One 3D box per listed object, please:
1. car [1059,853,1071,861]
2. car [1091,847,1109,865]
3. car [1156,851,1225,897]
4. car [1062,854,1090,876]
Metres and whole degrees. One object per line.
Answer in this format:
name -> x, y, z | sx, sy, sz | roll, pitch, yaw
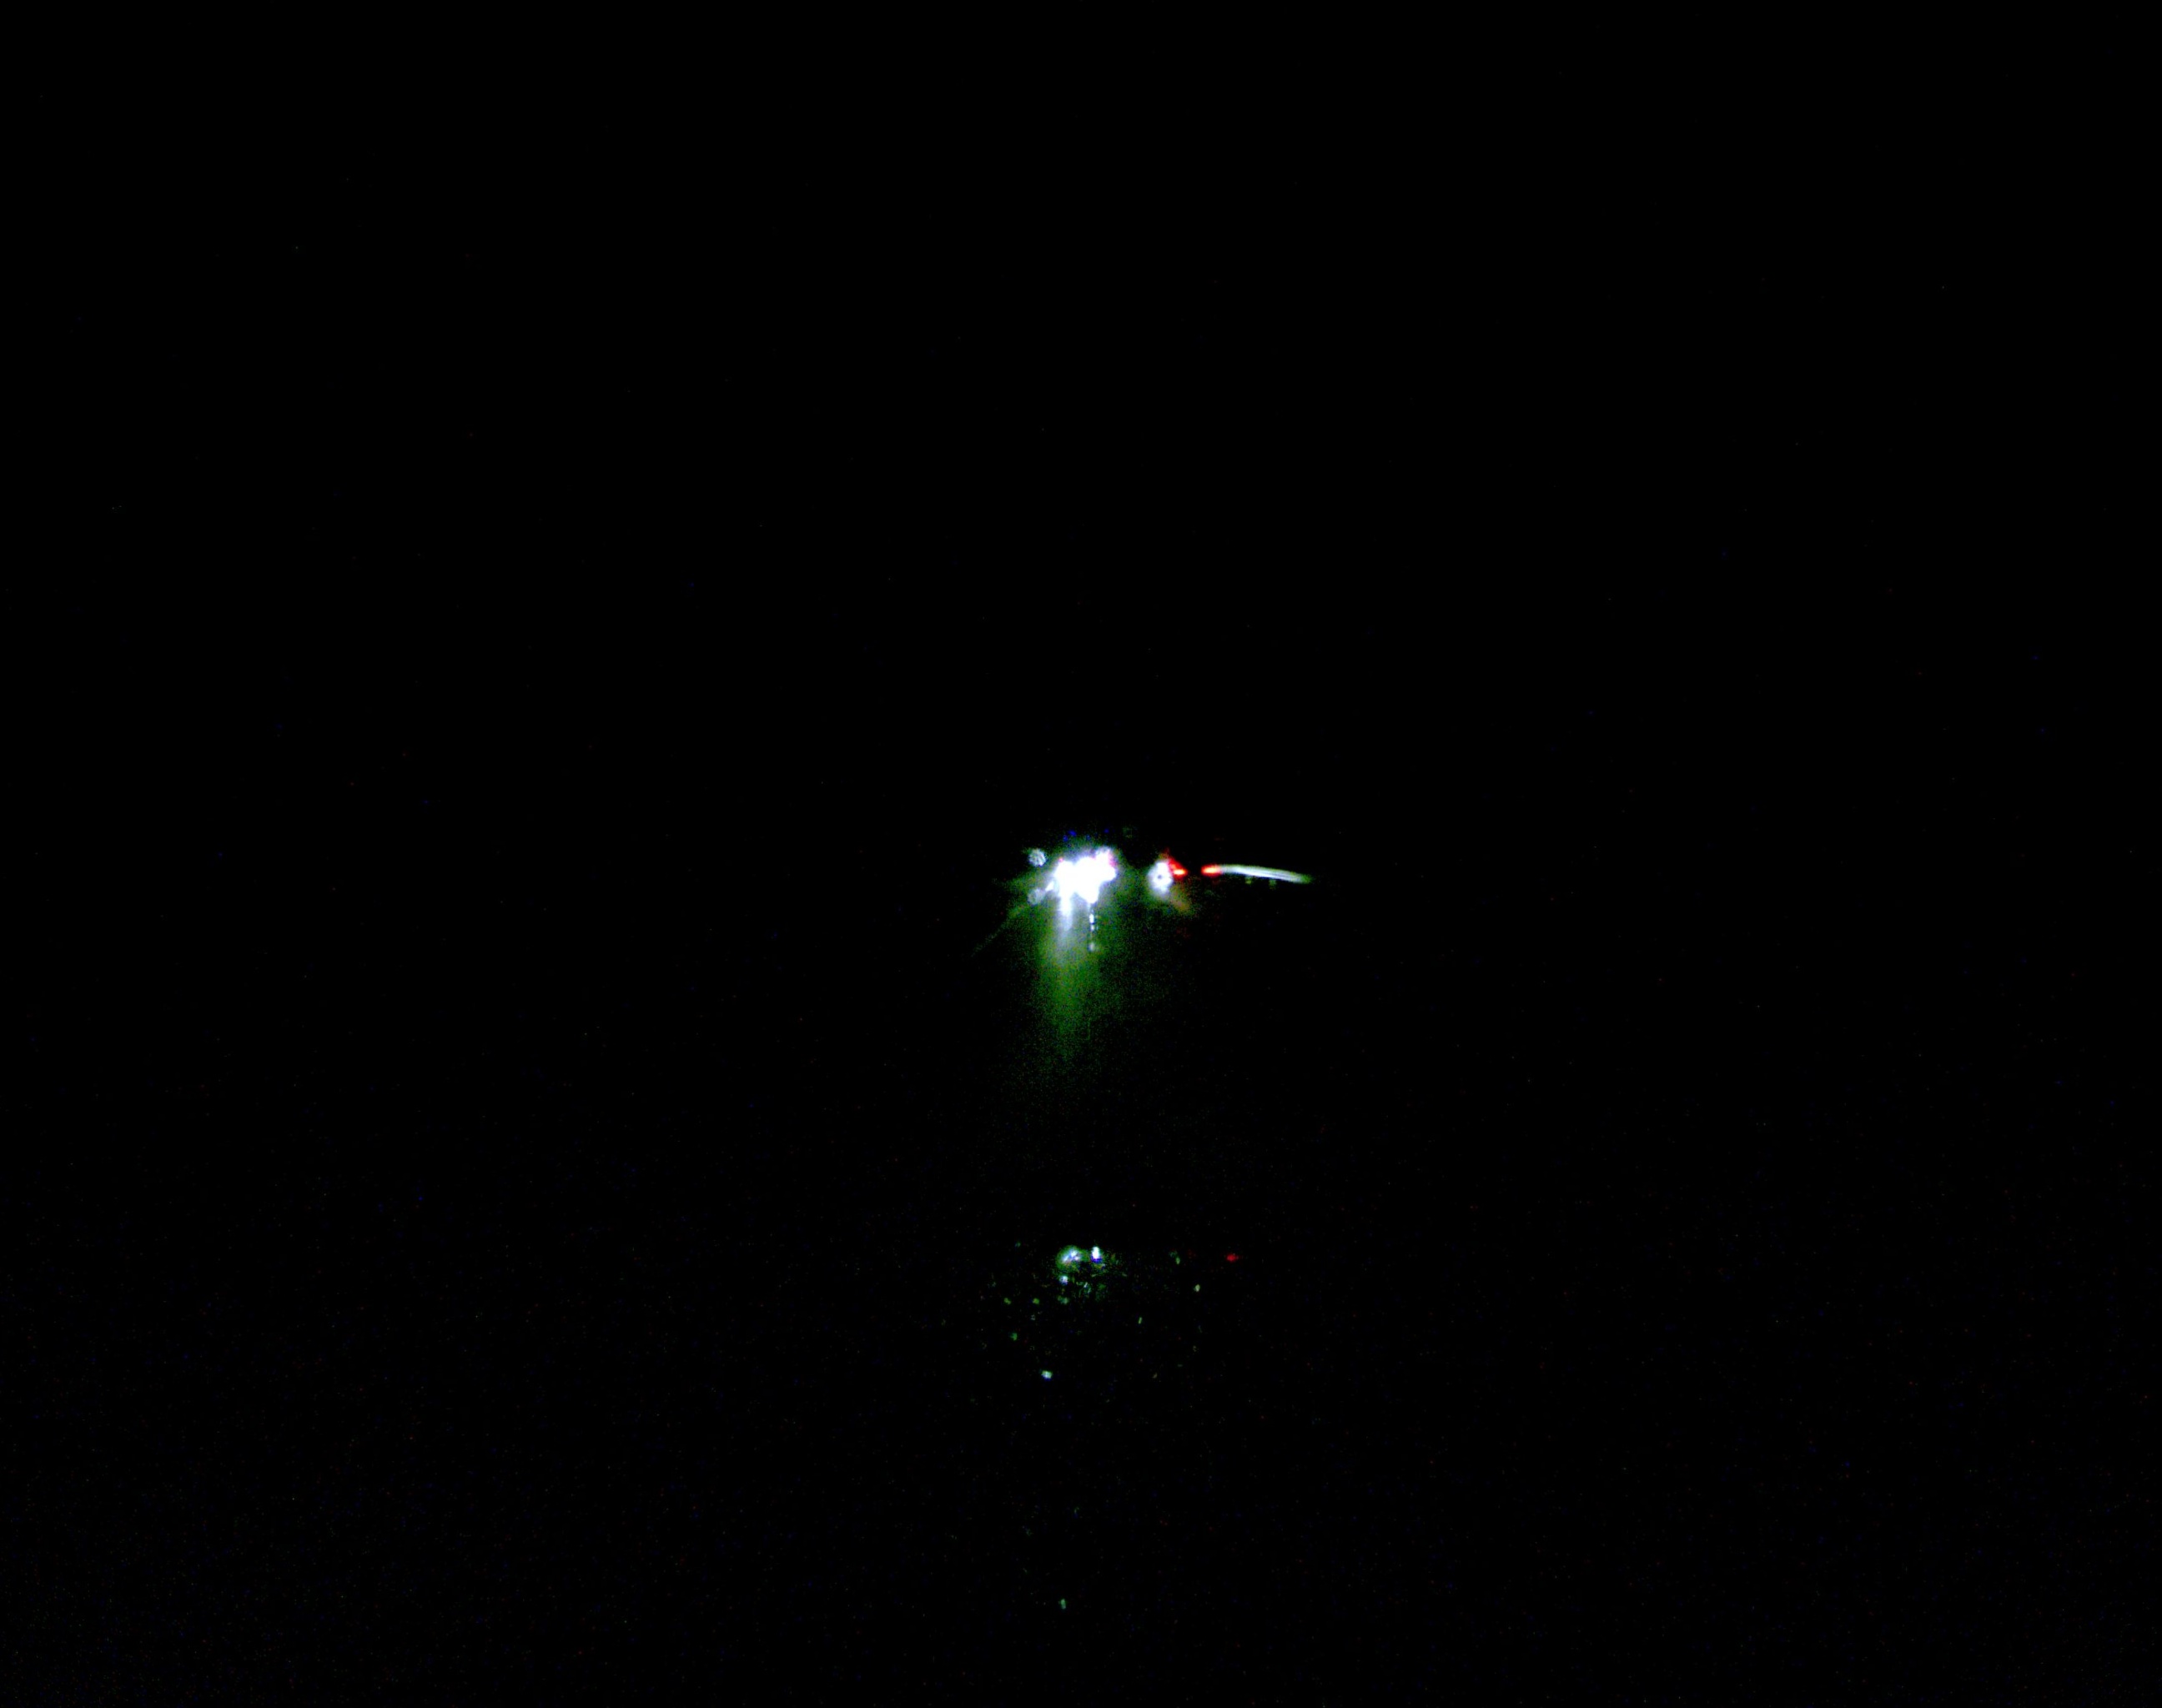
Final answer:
car -> -3.108, 0.587, 146.934 | 1.999, 1.382, 3.845 | -5, 0, -2
car -> 2.238, 0.254, 90.093 | 1.859, 1.929, 3.999 | -4, 0, -1
car -> 3.942, 0.667, 27.967 | 1.922, 1.455, 4.259 | -3, 0, 1
car -> -0.414, 0.810, 58.493 | 1.776, 1.444, 4.134 | -5, 0, -3
